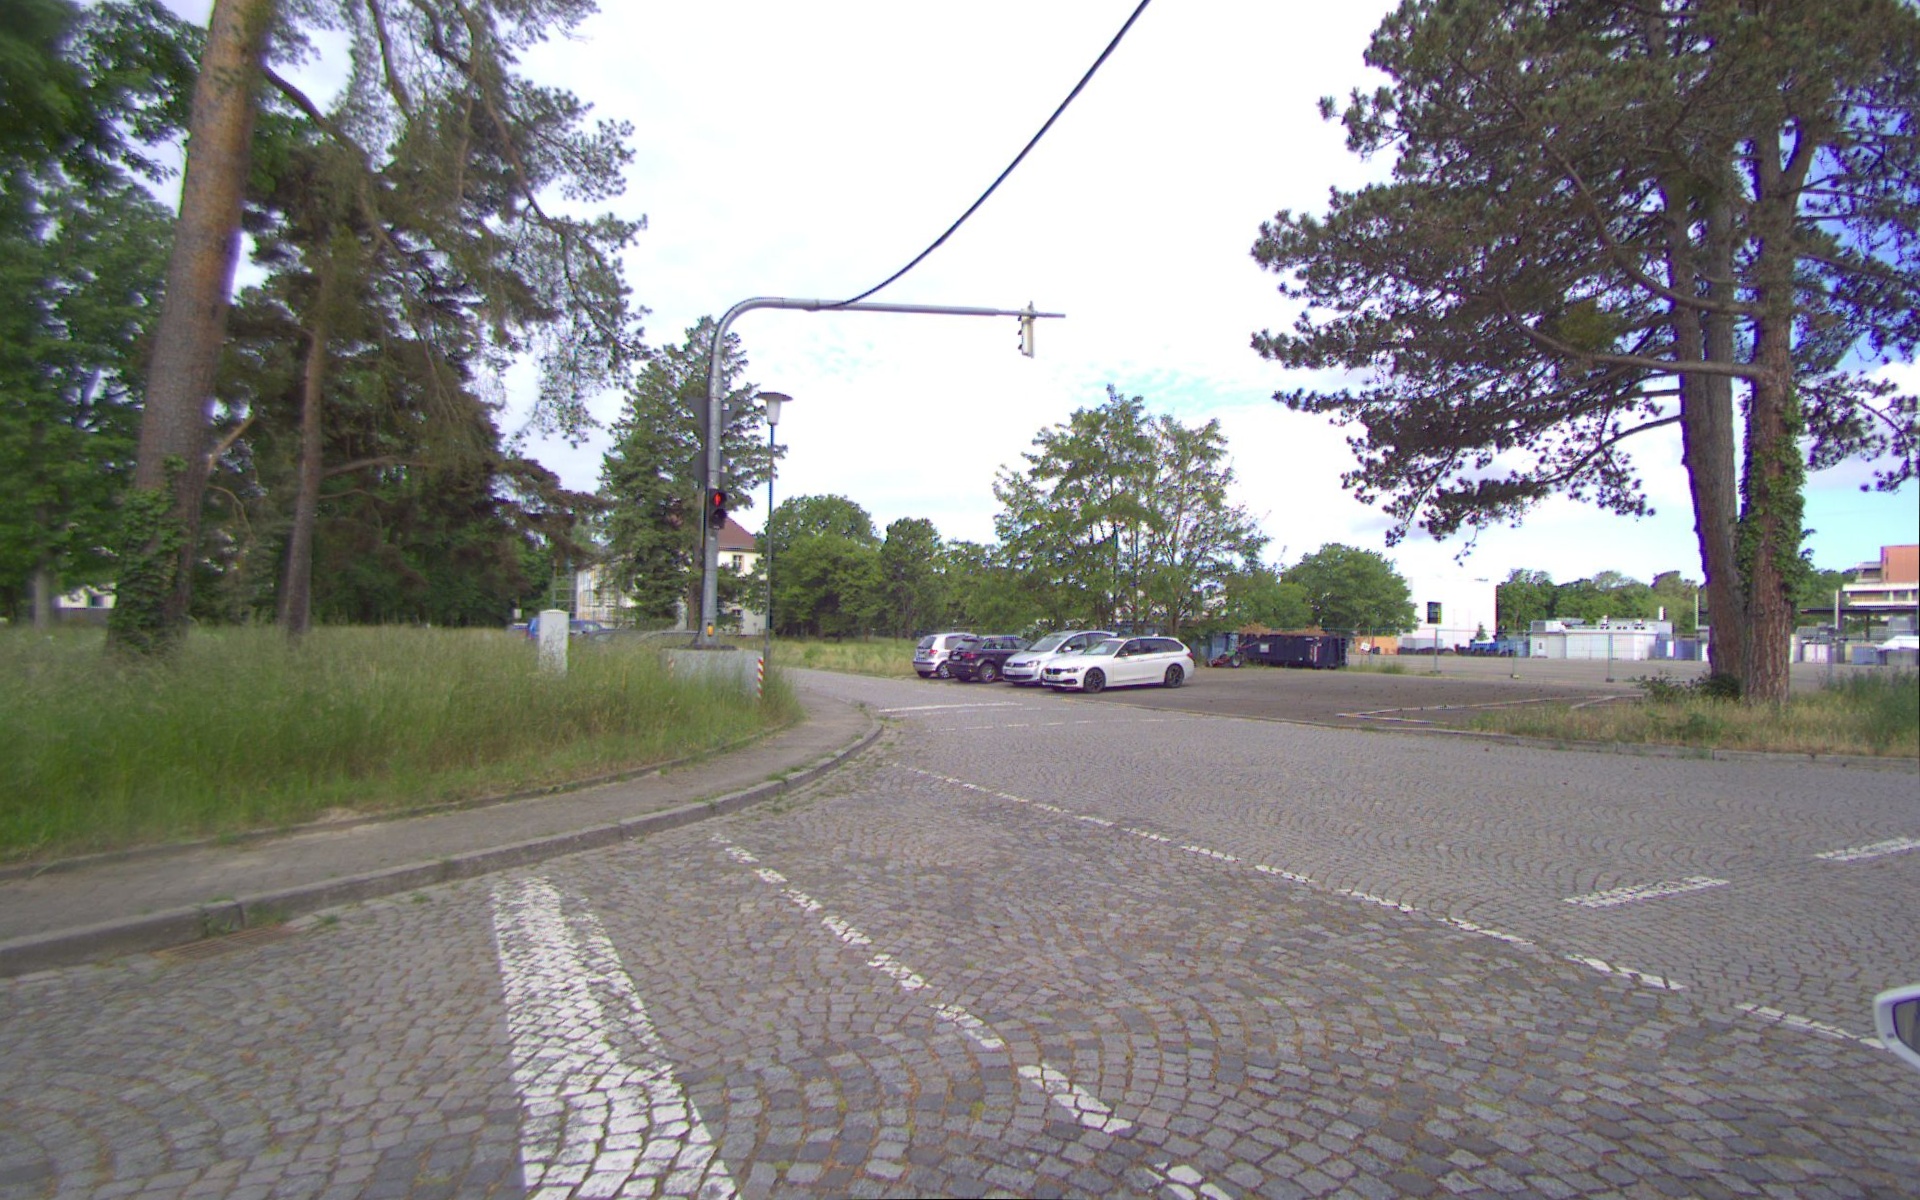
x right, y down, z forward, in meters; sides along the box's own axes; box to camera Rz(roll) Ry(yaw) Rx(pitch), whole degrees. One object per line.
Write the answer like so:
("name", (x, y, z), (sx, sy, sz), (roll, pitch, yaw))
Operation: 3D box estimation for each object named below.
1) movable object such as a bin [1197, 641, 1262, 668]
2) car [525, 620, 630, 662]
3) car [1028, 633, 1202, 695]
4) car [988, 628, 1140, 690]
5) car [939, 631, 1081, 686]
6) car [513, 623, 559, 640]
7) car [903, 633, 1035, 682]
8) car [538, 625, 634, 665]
("movable object such as a bin", (11.164, 2.268, 41.579), (2.630, 1.061, 1.171), (2, -2, -33))
("car", (-18.996, 2.024, 49.920), (4.733, 2.007, 1.984), (1, -2, -28))
("car", (4.323, 1.706, 27.778), (4.685, 1.461, 1.801), (0, -1, -31))
("car", (3.119, 1.704, 29.958), (4.276, 1.605, 1.812), (-1, -1, -31))
("car", (1.622, 1.838, 32.278), (4.276, 1.522, 1.845), (-1, -1, -31))
("car", (-52.421, 3.901, 124.249), (5.099, 2.040, 1.986), (2, -2, -28))
("car", (0.327, 1.977, 34.614), (4.277, 1.586, 1.784), (2, -2, -31))
("car", (-16.813, 2.017, 45.163), (3.947, 1.736, 1.680), (1, -2, -26))
